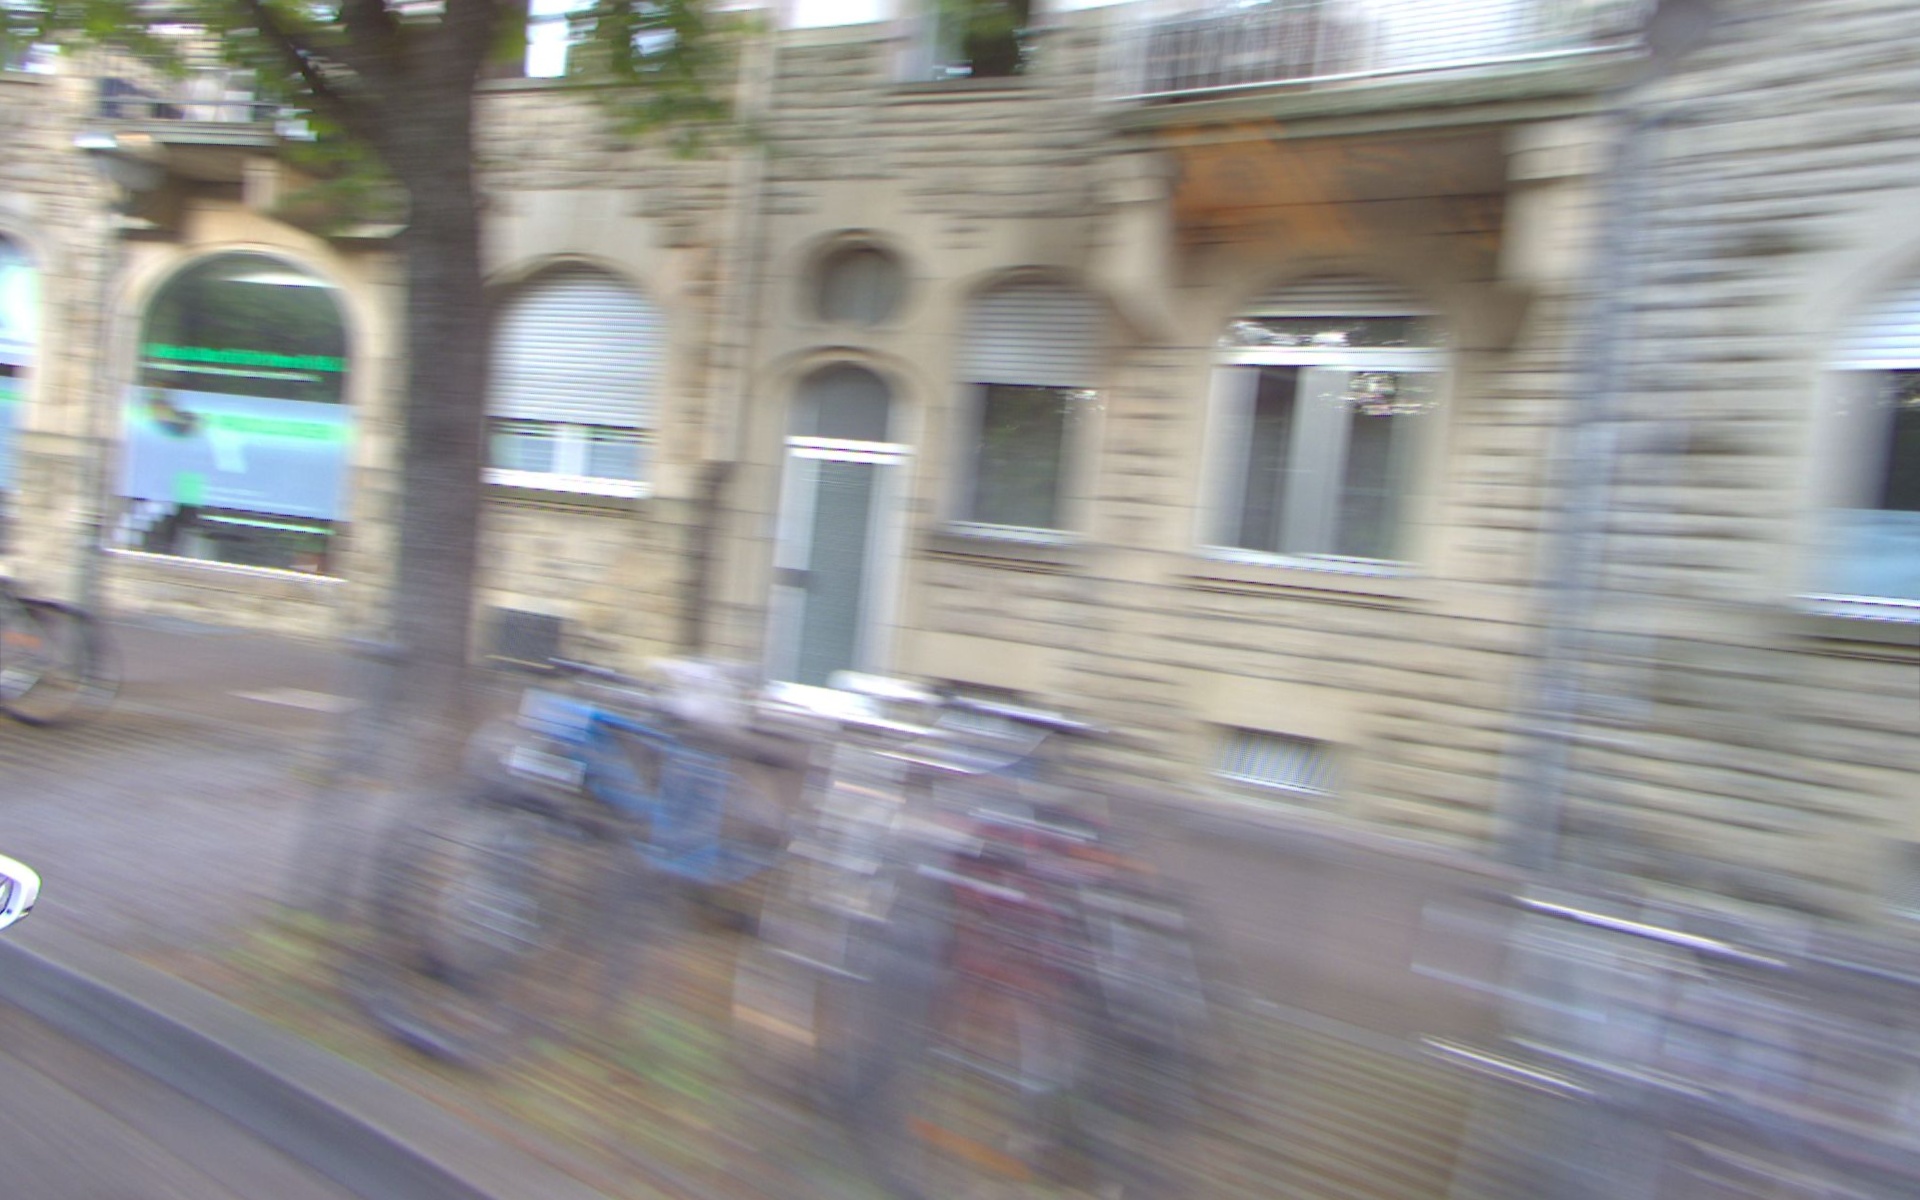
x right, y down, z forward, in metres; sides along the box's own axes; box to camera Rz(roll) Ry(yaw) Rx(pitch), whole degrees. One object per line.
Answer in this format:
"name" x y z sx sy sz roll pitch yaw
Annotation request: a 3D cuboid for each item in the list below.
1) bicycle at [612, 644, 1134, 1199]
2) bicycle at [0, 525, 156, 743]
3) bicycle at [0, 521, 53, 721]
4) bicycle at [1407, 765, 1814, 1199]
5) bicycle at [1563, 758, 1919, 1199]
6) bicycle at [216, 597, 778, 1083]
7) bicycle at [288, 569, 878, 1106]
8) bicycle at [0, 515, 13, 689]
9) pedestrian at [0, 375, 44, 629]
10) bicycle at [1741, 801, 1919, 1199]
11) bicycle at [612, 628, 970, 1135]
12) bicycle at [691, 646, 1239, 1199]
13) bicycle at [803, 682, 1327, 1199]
"bicycle" -0.078 0.737 2.924 0.412 1.159 1.851 7 2 30
"bicycle" -5.109 0.161 5.055 0.477 1.092 1.675 7 1 13
"bicycle" -5.638 0.096 4.988 0.477 1.092 1.675 7 1 13
"bicycle" 1.285 0.983 2.166 0.412 1.012 1.851 7 1 30
"bicycle" 1.538 0.967 2.023 0.412 1.065 1.851 7 1 30
"bicycle" -1.377 0.644 3.484 0.483 1.153 1.885 11 1 17
"bicycle" -1.014 0.586 3.247 0.484 1.231 1.881 1 -2 30
"bicycle" -6.506 -0.027 5.626 0.477 1.092 1.674 7 1 20
"pedestrian" -8.565 -0.875 8.285 1.040 2.113 1.013 8 3 16
"bicycle" 1.964 1.068 1.822 0.526 1.075 1.916 7 1 31
"bicycle" -0.412 0.707 3.371 0.563 1.118 1.855 7 1 7
"bicycle" 0.184 0.731 2.673 0.414 1.138 1.851 -14 -9 29
"bicycle" 0.429 0.813 2.538 0.414 1.100 1.851 -14 -9 29
